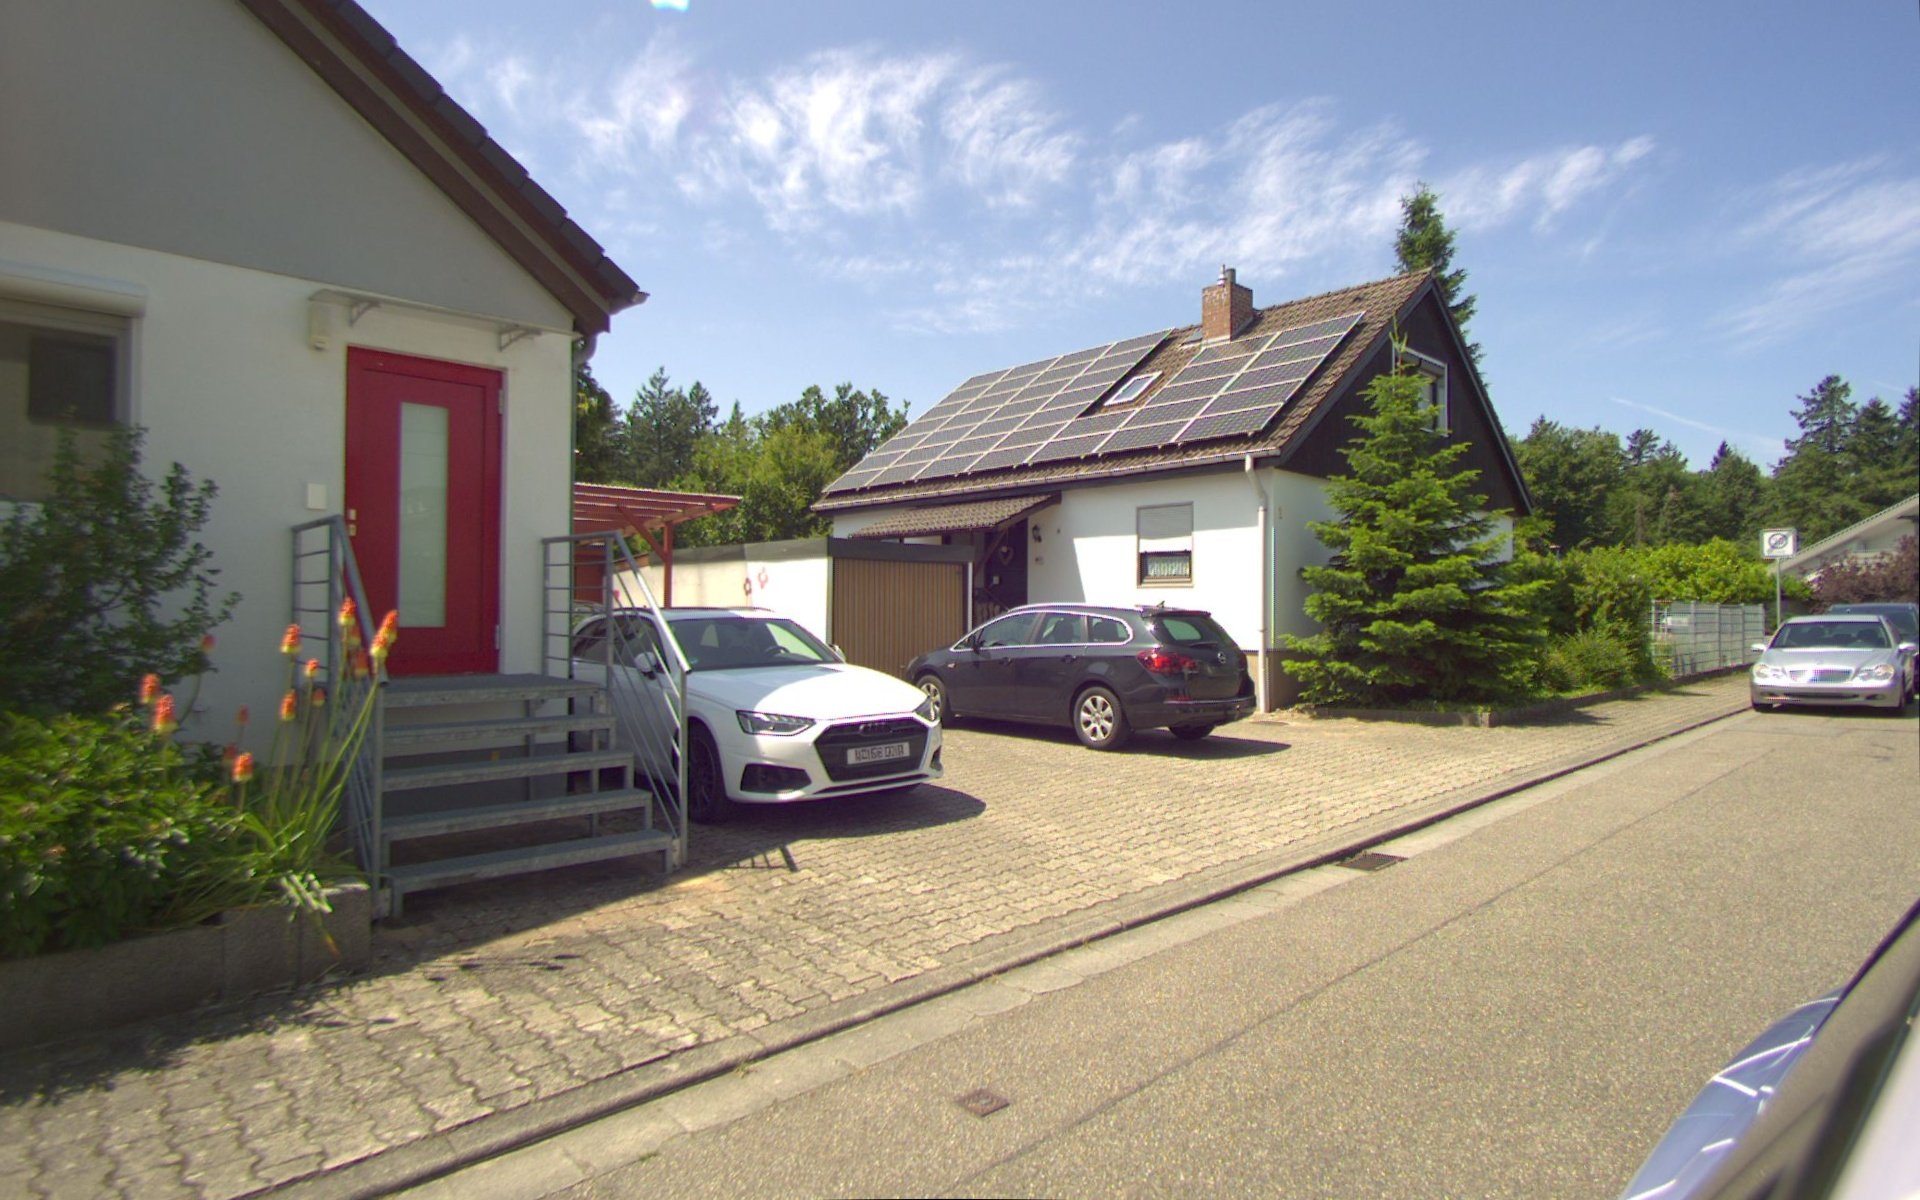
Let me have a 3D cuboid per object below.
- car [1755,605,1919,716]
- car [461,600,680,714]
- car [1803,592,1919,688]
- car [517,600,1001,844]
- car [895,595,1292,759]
[{"bbox_3d":[13.754,0.823,15.591,4.263,1.478,1.688,0,-1,-42],"label":"car"},{"bbox_3d":[-6.329,0.798,16.222,1.840,1.587,4.058,0,-1,-44],"label":"car"},{"bbox_3d":[18.059,0.721,19.675,4.602,1.683,1.965,1,-1,-42],"label":"car"},{"bbox_3d":[-1.901,0.734,8.240,1.917,1.414,4.545,1,-1,-40],"label":"car"},{"bbox_3d":[1.353,0.721,11.542,1.966,1.505,4.245,1,-1,-43],"label":"car"}]
